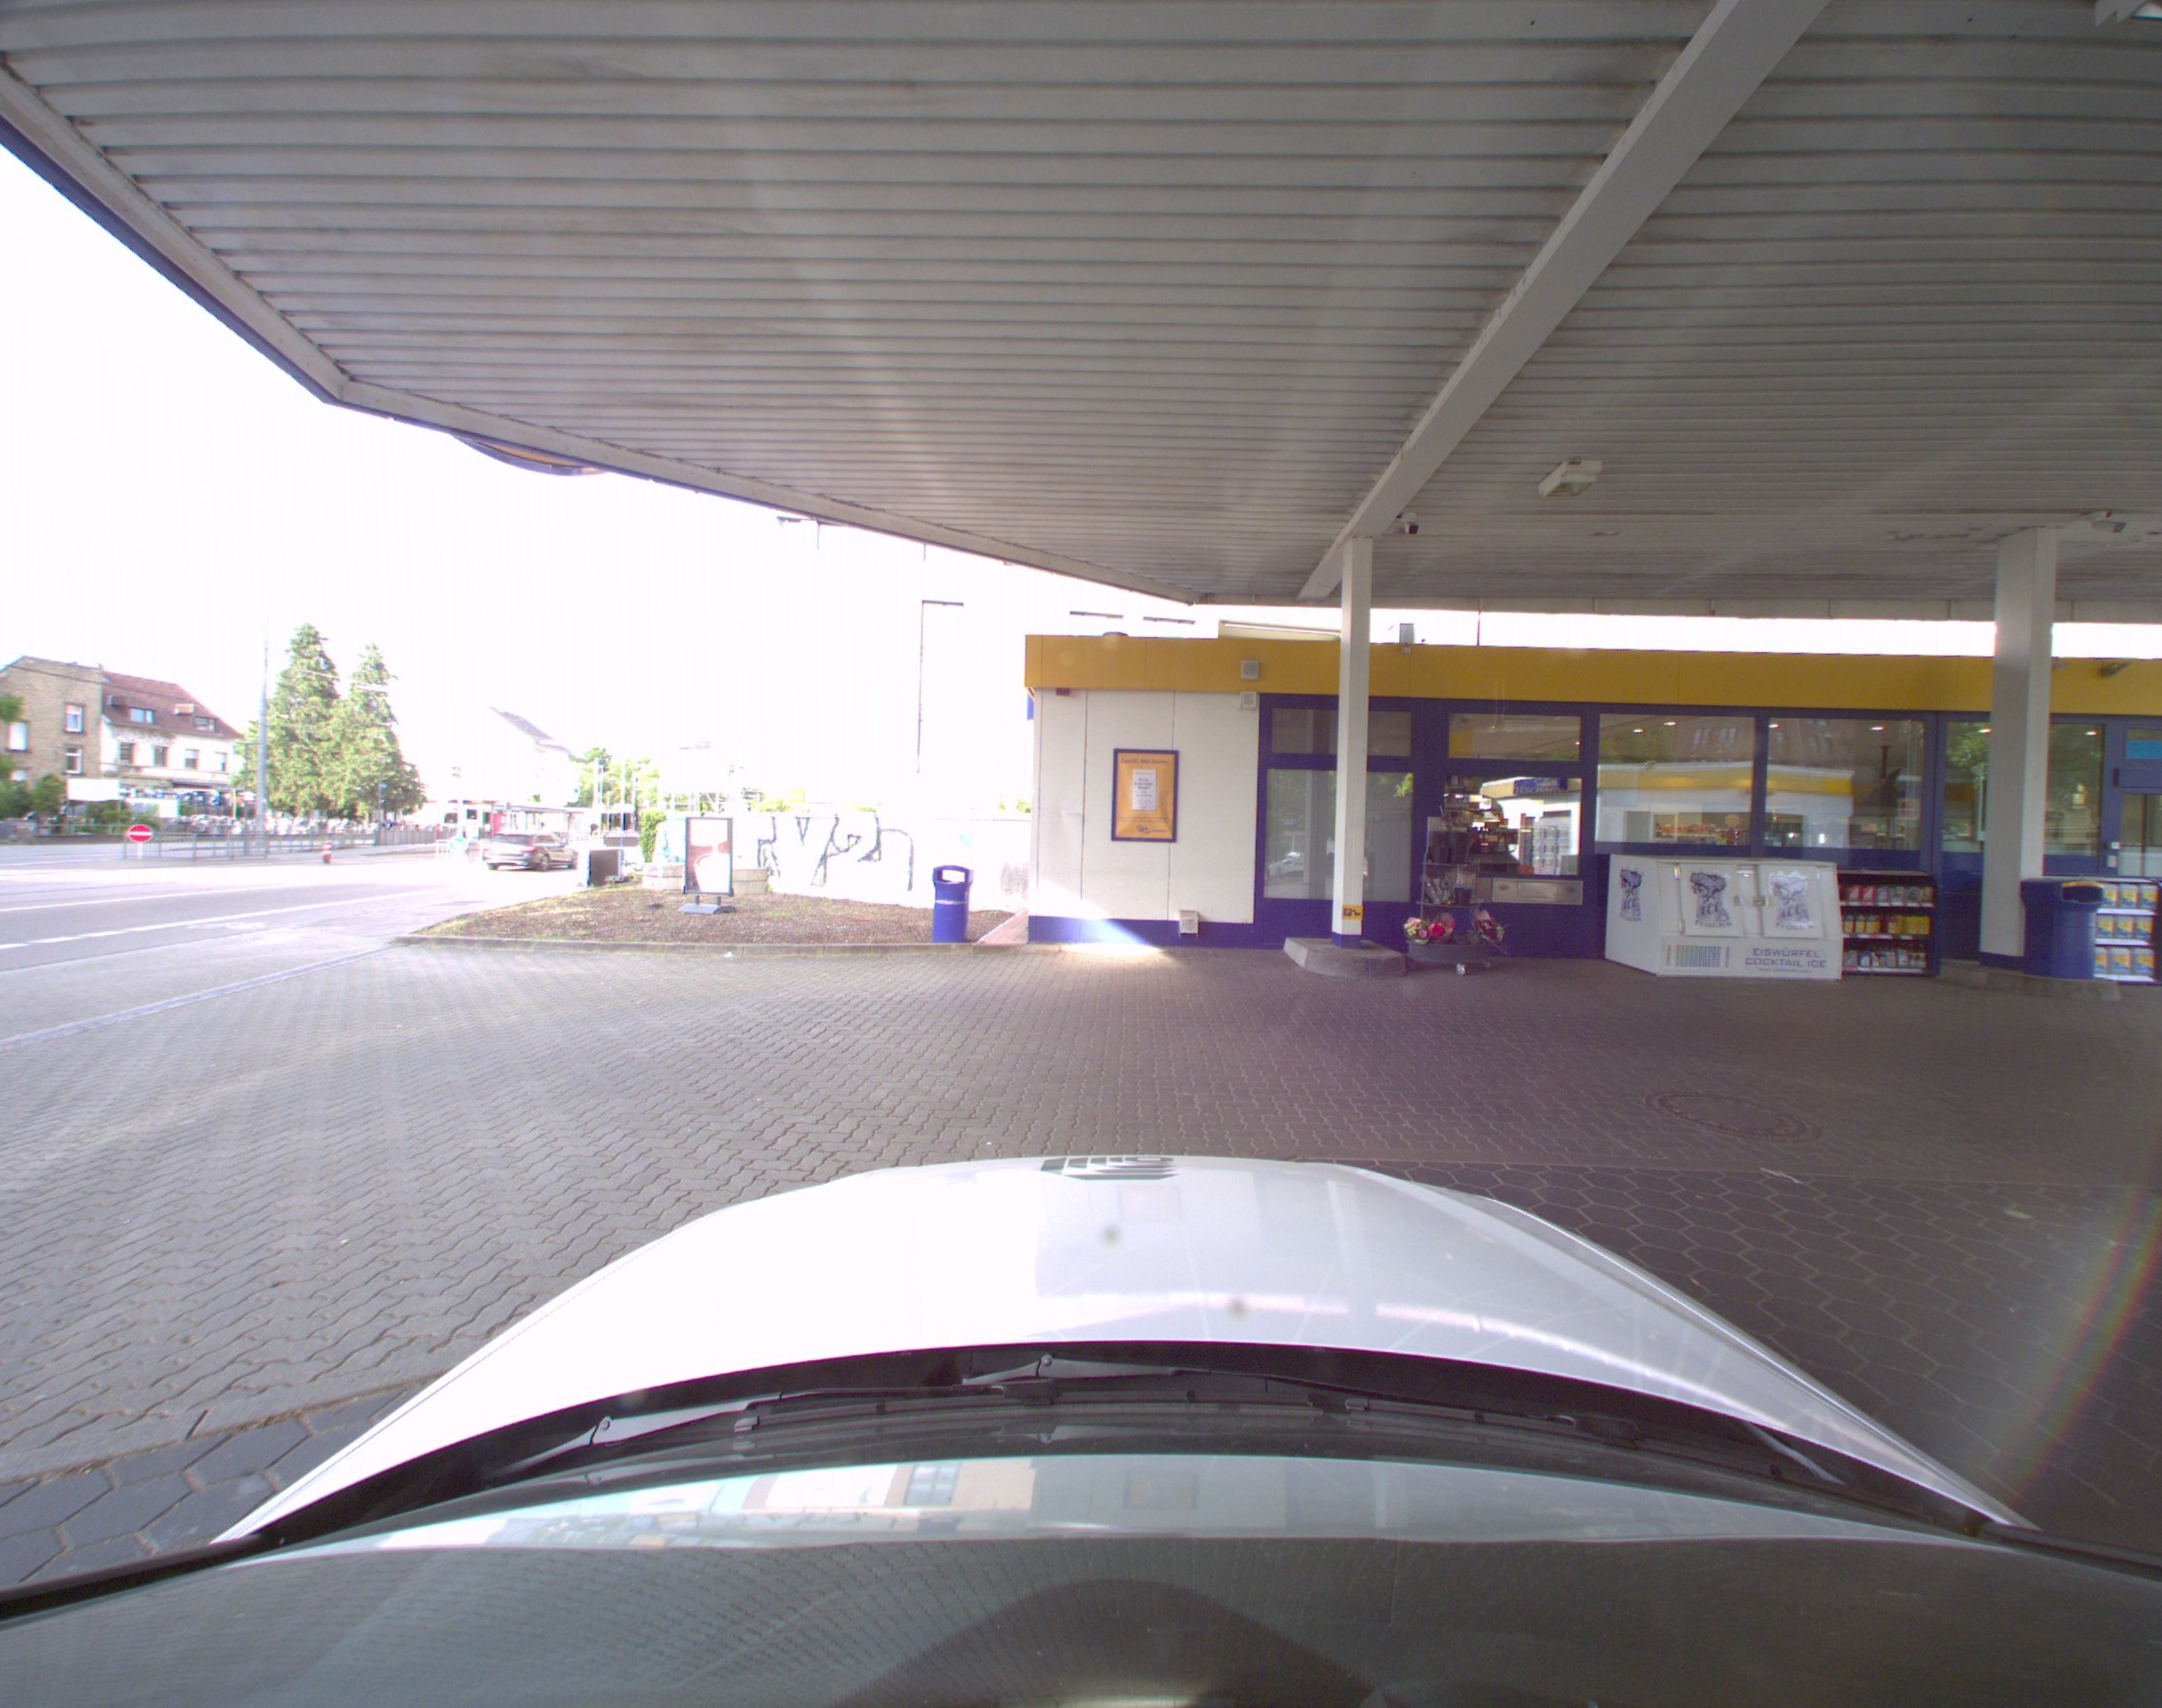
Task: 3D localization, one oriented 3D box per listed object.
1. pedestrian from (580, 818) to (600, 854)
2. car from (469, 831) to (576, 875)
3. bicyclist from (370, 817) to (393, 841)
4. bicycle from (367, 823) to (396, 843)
[{"bbox_3d":[-28.036,-1.009,46.514,0.808,2.014,0.846,0,-1,-17],"label":"pedestrian"},{"bbox_3d":[-20.354,-0.086,29.901,1.751,1.468,4.548,2,1,-15],"label":"car"},{"bbox_3d":[-44.760,-1.614,52.130,0.680,1.534,1.079,0,1,-17],"label":"bicyclist"},{"bbox_3d":[-44.761,-1.331,52.131,0.680,1.222,1.909,0,1,-17],"label":"bicycle"}]
